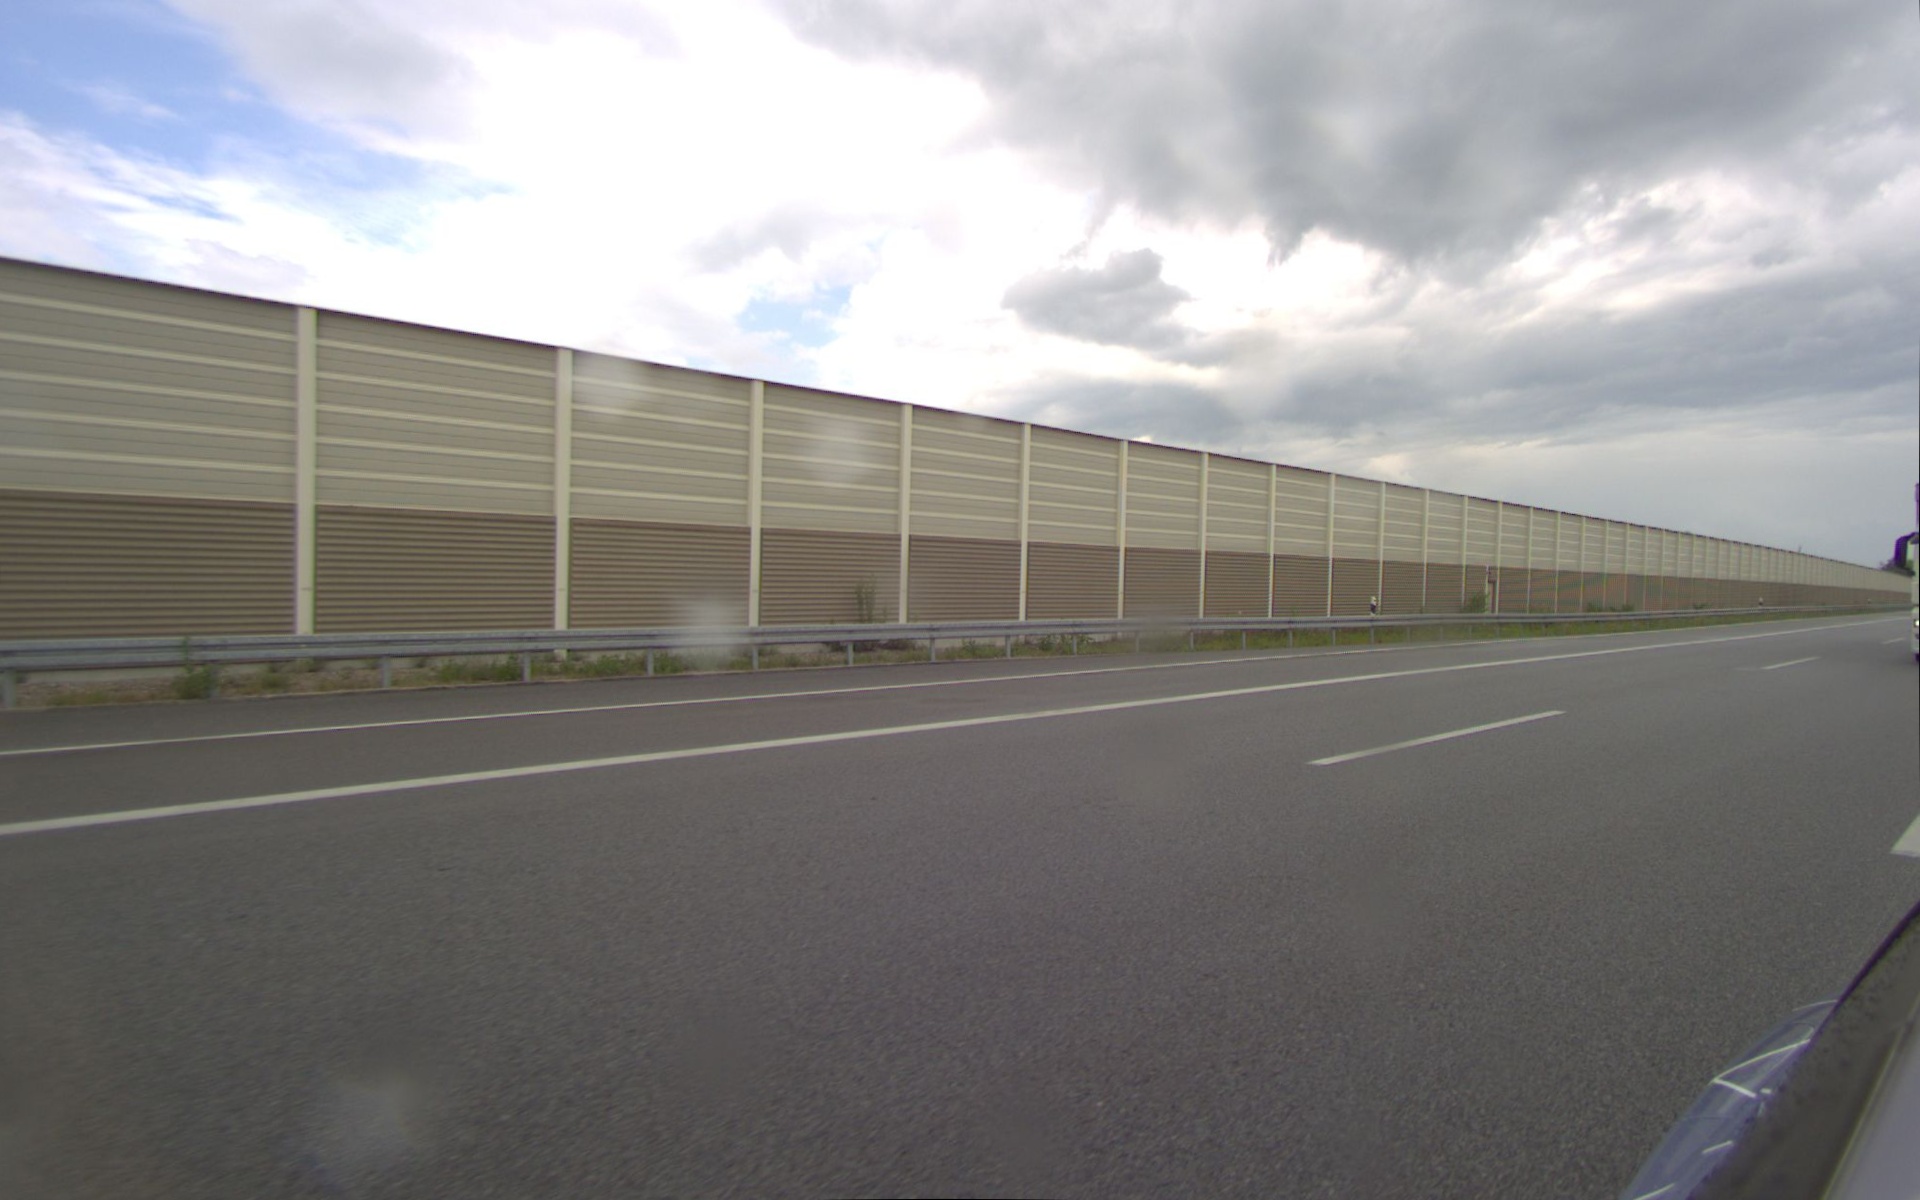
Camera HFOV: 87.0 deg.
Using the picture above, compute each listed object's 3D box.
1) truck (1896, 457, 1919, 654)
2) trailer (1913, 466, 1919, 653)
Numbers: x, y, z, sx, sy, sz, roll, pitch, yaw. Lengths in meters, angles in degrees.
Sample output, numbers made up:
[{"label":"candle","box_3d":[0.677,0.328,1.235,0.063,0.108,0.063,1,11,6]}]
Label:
[{"label":"truck","box_3d":[23.175,-0.968,22.358,5.098,4.223,2.913,0,0,-38]},{"label":"trailer","box_3d":[27.725,-0.973,25.925,12.956,4.266,2.925,-1,0,-38]}]
